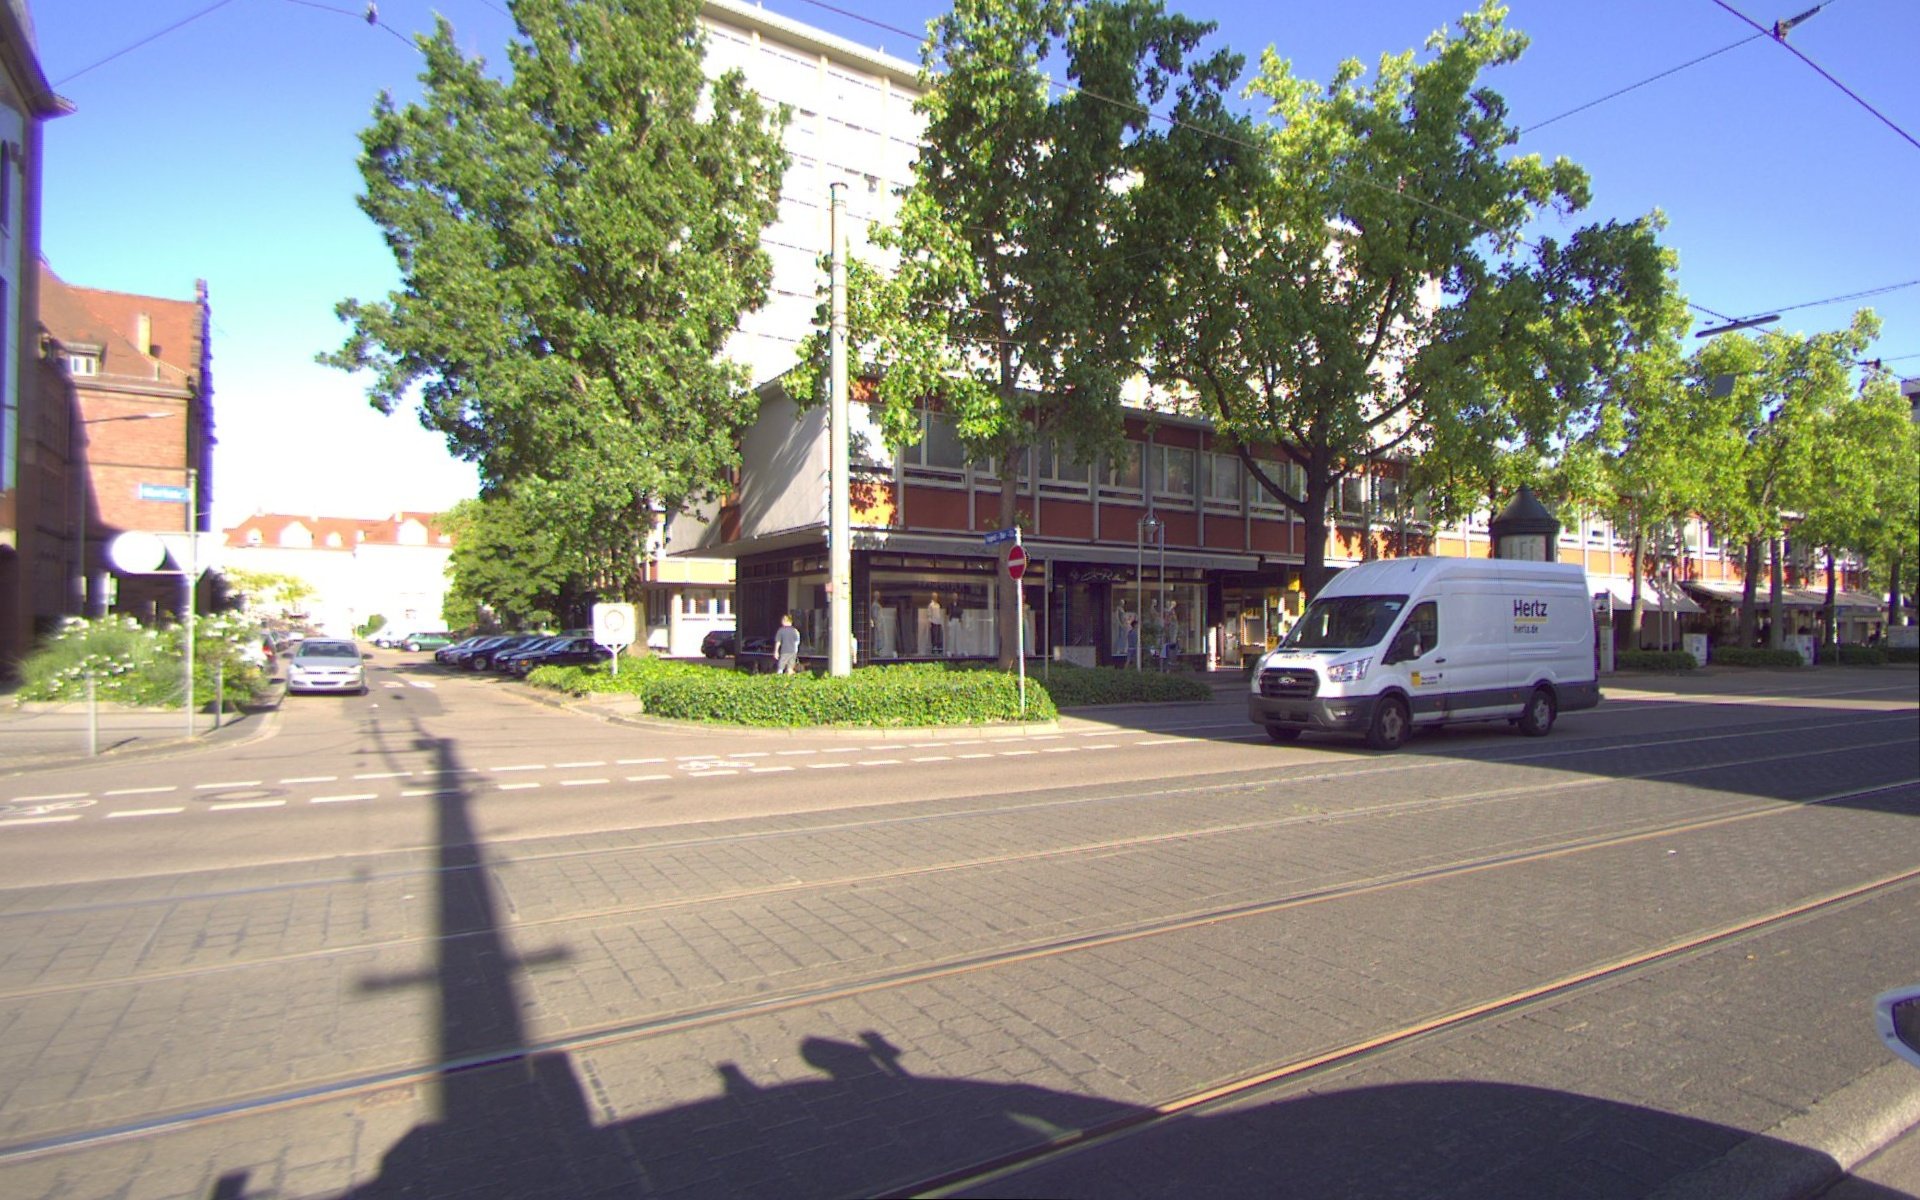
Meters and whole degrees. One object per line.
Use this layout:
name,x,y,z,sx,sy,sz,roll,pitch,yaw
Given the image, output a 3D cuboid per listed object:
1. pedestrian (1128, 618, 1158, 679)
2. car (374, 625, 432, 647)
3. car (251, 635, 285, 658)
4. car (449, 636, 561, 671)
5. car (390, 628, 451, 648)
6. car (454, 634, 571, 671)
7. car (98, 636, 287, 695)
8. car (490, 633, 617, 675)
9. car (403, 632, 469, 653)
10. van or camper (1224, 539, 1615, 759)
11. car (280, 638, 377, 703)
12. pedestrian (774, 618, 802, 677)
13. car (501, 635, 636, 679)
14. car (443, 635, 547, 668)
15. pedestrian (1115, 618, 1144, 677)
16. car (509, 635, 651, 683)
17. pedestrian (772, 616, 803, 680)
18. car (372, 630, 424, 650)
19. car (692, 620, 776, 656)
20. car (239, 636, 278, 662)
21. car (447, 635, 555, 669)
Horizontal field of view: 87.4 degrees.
pedestrian,5.481,1.447,30.065,0.698,1.795,0.570,1,-2,-29
car,-53.434,3.445,96.338,4.782,2.040,1.982,1,-2,-33
car,-49.464,3.316,71.802,1.980,1.550,4.185,1,-2,-35
car,-21.268,2.450,47.009,4.667,1.550,1.985,1,-2,-29
car,-44.645,3.144,83.148,4.232,1.550,1.981,1,-2,-35
car,-19.938,2.300,44.771,4.667,1.550,1.985,1,-2,-29
car,-22.144,1.844,29.207,4.232,1.550,1.981,1,-2,-35
car,-16.619,2.183,41.109,4.667,1.550,1.985,1,0,-29
car,-40.082,3.250,76.864,4.232,1.550,1.981,1,-2,-35
van or camper,7.254,0.703,15.439,6.944,2.775,2.025,1,-2,-33
car,-16.513,1.773,26.463,1.977,1.550,4.241,1,-2,-30
pedestrian,-4.721,1.295,27.582,0.708,1.613,0.447,0,-2,-5
car,-15.176,2.173,38.970,4.667,1.550,1.985,1,0,-29
car,-23.570,2.580,50.945,4.667,1.550,1.985,1,-2,-29
pedestrian,5.165,1.433,30.632,0.698,1.773,0.570,1,-2,-29
car,-13.944,2.127,36.898,4.667,1.550,1.985,1,1,-29
pedestrian,-4.424,1.214,25.711,0.711,1.613,0.445,0,-2,-21
car,-59.861,4.234,107.052,4.782,2.040,1.982,1,-2,-33
car,-11.888,1.975,52.881,3.953,1.806,1.984,1,-2,-30
car,-44.456,3.061,63.666,1.980,1.550,4.185,1,-2,-35
car,-22.328,2.484,48.861,4.667,1.550,1.985,1,-2,-29
